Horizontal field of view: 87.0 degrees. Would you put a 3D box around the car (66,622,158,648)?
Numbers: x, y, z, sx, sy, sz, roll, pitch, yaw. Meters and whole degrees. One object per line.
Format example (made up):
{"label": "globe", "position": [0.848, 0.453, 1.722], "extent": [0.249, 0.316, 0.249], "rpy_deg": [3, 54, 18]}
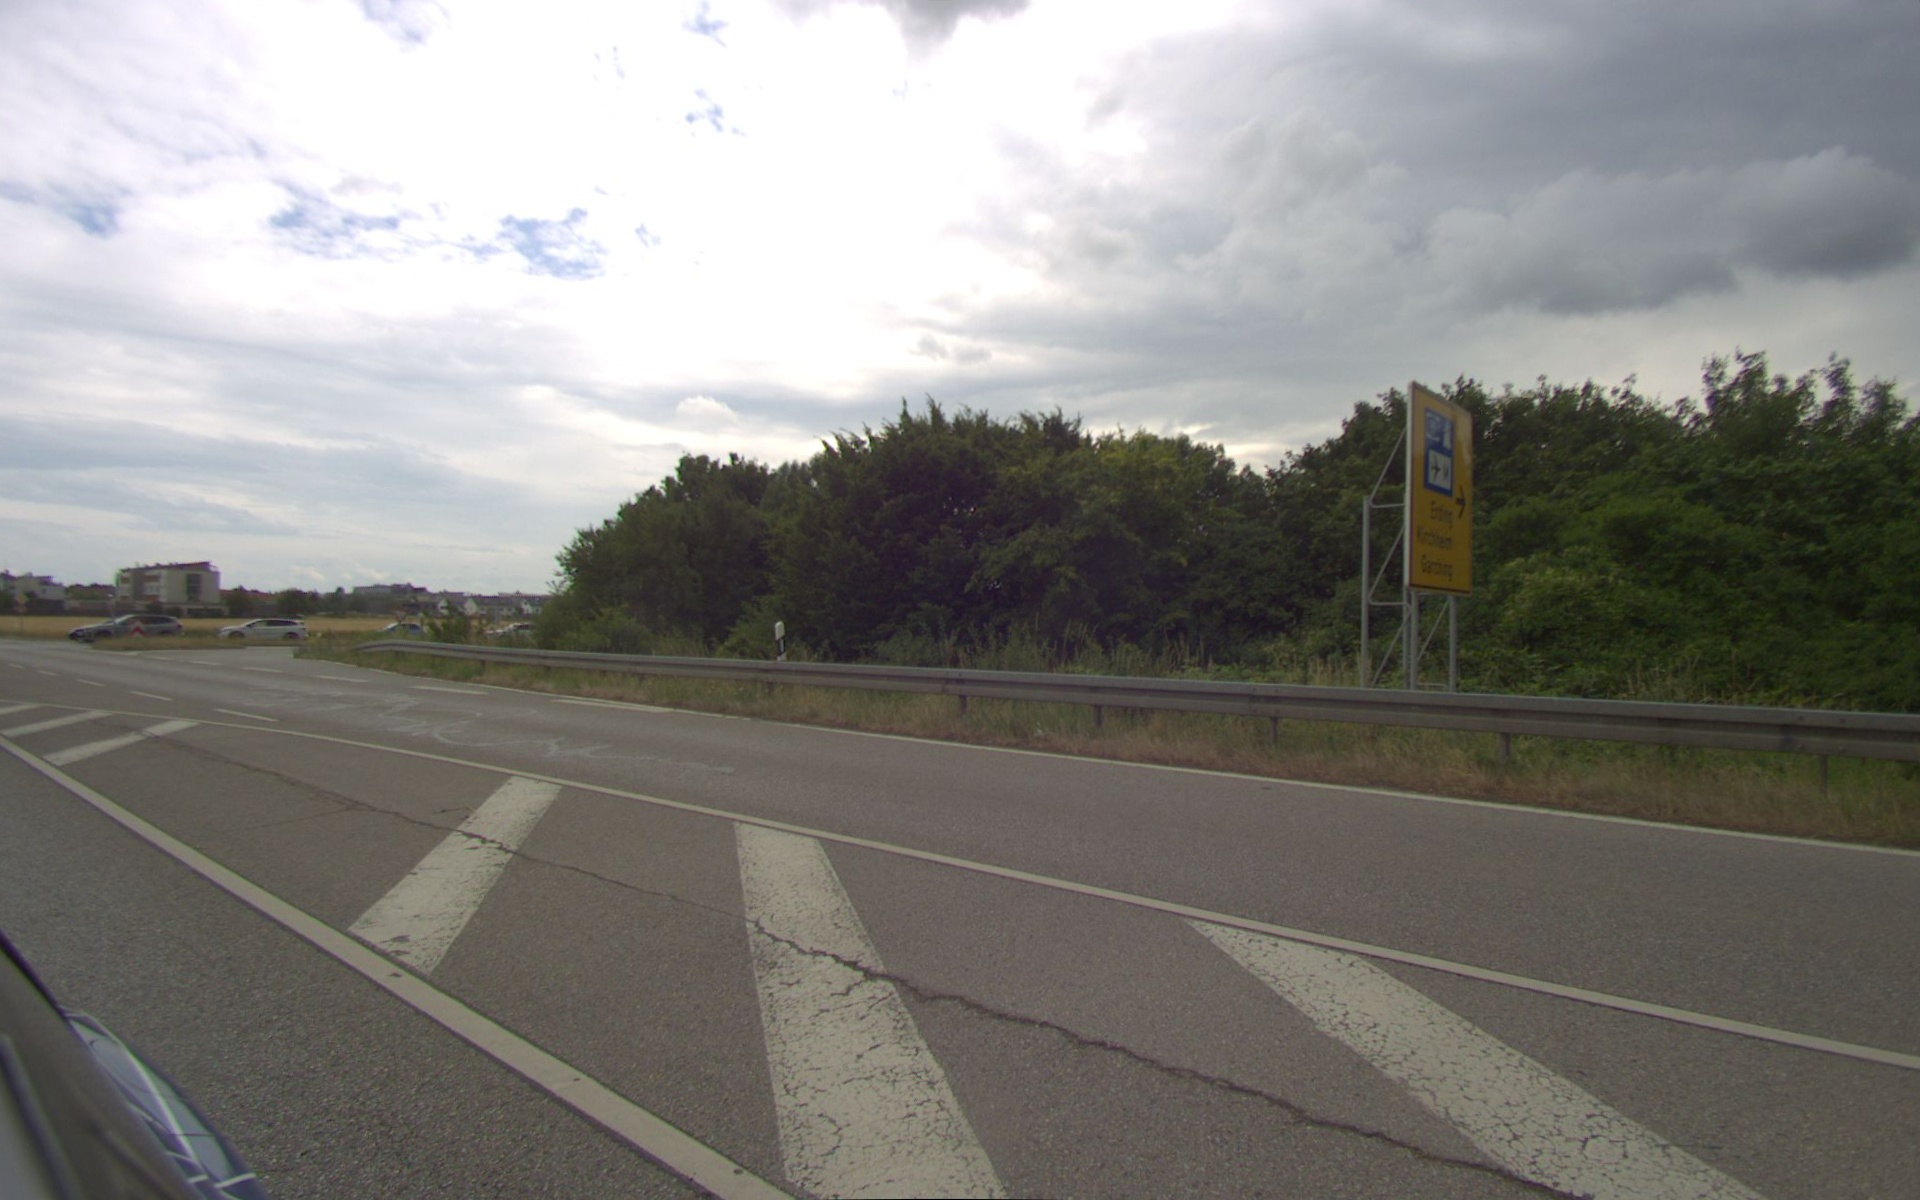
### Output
{"label": "car", "position": [-50.333, 2.062, 60.154], "extent": [3.772, 1.501, 2.006], "rpy_deg": [1, -1, -27]}

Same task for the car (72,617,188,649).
{"label": "car", "position": [-47.134, 1.844, 57.542], "extent": [1.996, 1.702, 4.759], "rpy_deg": [-1, -2, 36]}

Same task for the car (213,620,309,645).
{"label": "car", "position": [-42.919, 1.961, 62.212], "extent": [4.607, 1.510, 2.002], "rpy_deg": [1, -2, -42]}

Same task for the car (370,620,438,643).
{"label": "car", "position": [-37.038, 2.065, 67.425], "extent": [3.662, 1.510, 1.732], "rpy_deg": [1, -2, -42]}

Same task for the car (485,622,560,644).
{"label": "car", "position": [-31.447, 2.369, 72.819], "extent": [4.607, 1.510, 2.002], "rpy_deg": [1, -2, -42]}
